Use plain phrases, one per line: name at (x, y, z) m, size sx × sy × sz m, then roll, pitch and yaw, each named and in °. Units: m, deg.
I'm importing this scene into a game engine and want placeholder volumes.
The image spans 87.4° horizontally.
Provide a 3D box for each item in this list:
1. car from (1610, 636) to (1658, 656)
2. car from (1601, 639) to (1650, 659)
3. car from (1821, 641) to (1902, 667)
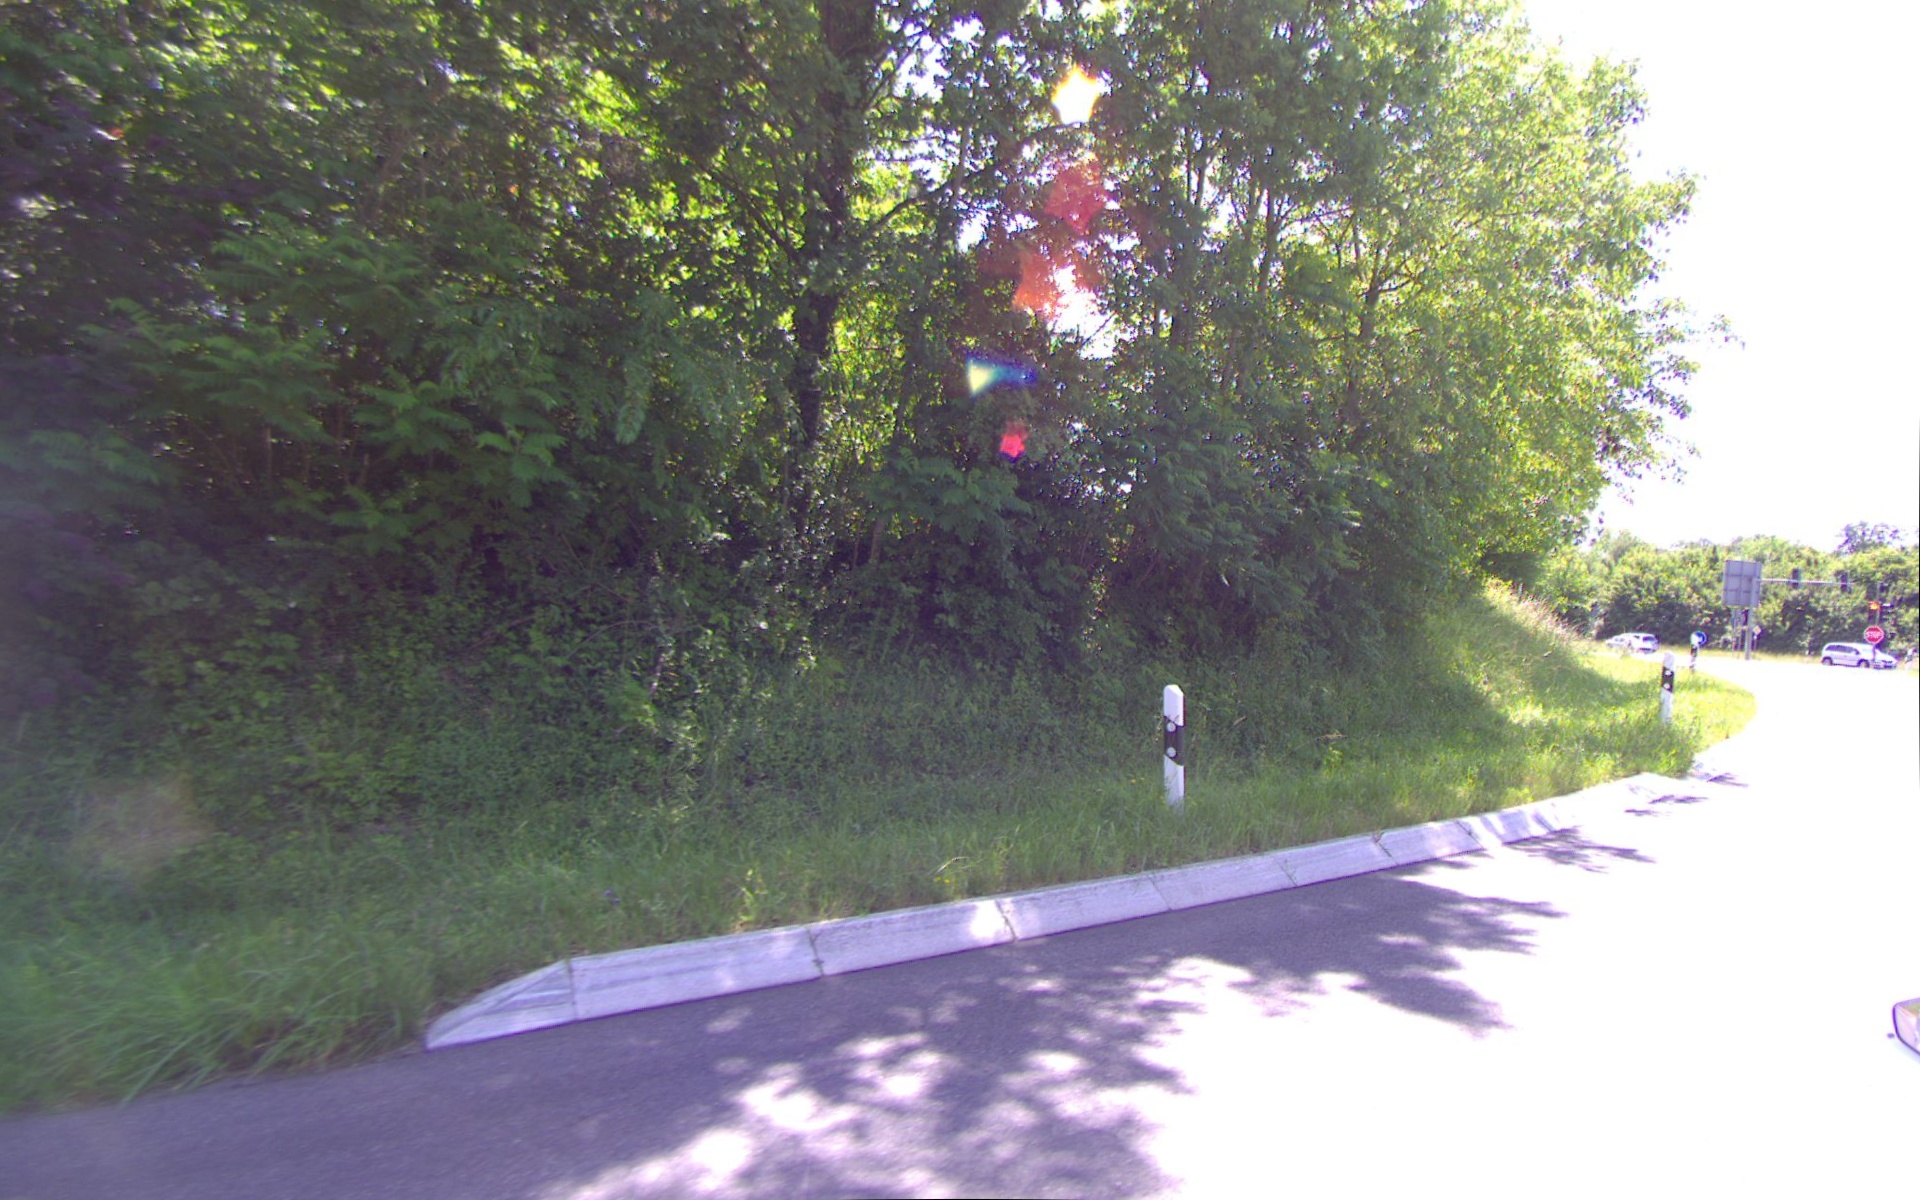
car at (61.717, 4.216, 91.996) m, size 1.599 × 1.728 × 3.652 m, roll 0°, pitch -1°, yaw -9°
car at (58.006, 4.253, 87.656) m, size 1.627 × 1.596 × 3.914 m, roll 1°, pitch -1°, yaw -1°
car at (59.670, 3.539, 66.554) m, size 1.696 × 1.596 × 3.680 m, roll 1°, pitch -1°, yaw -14°
